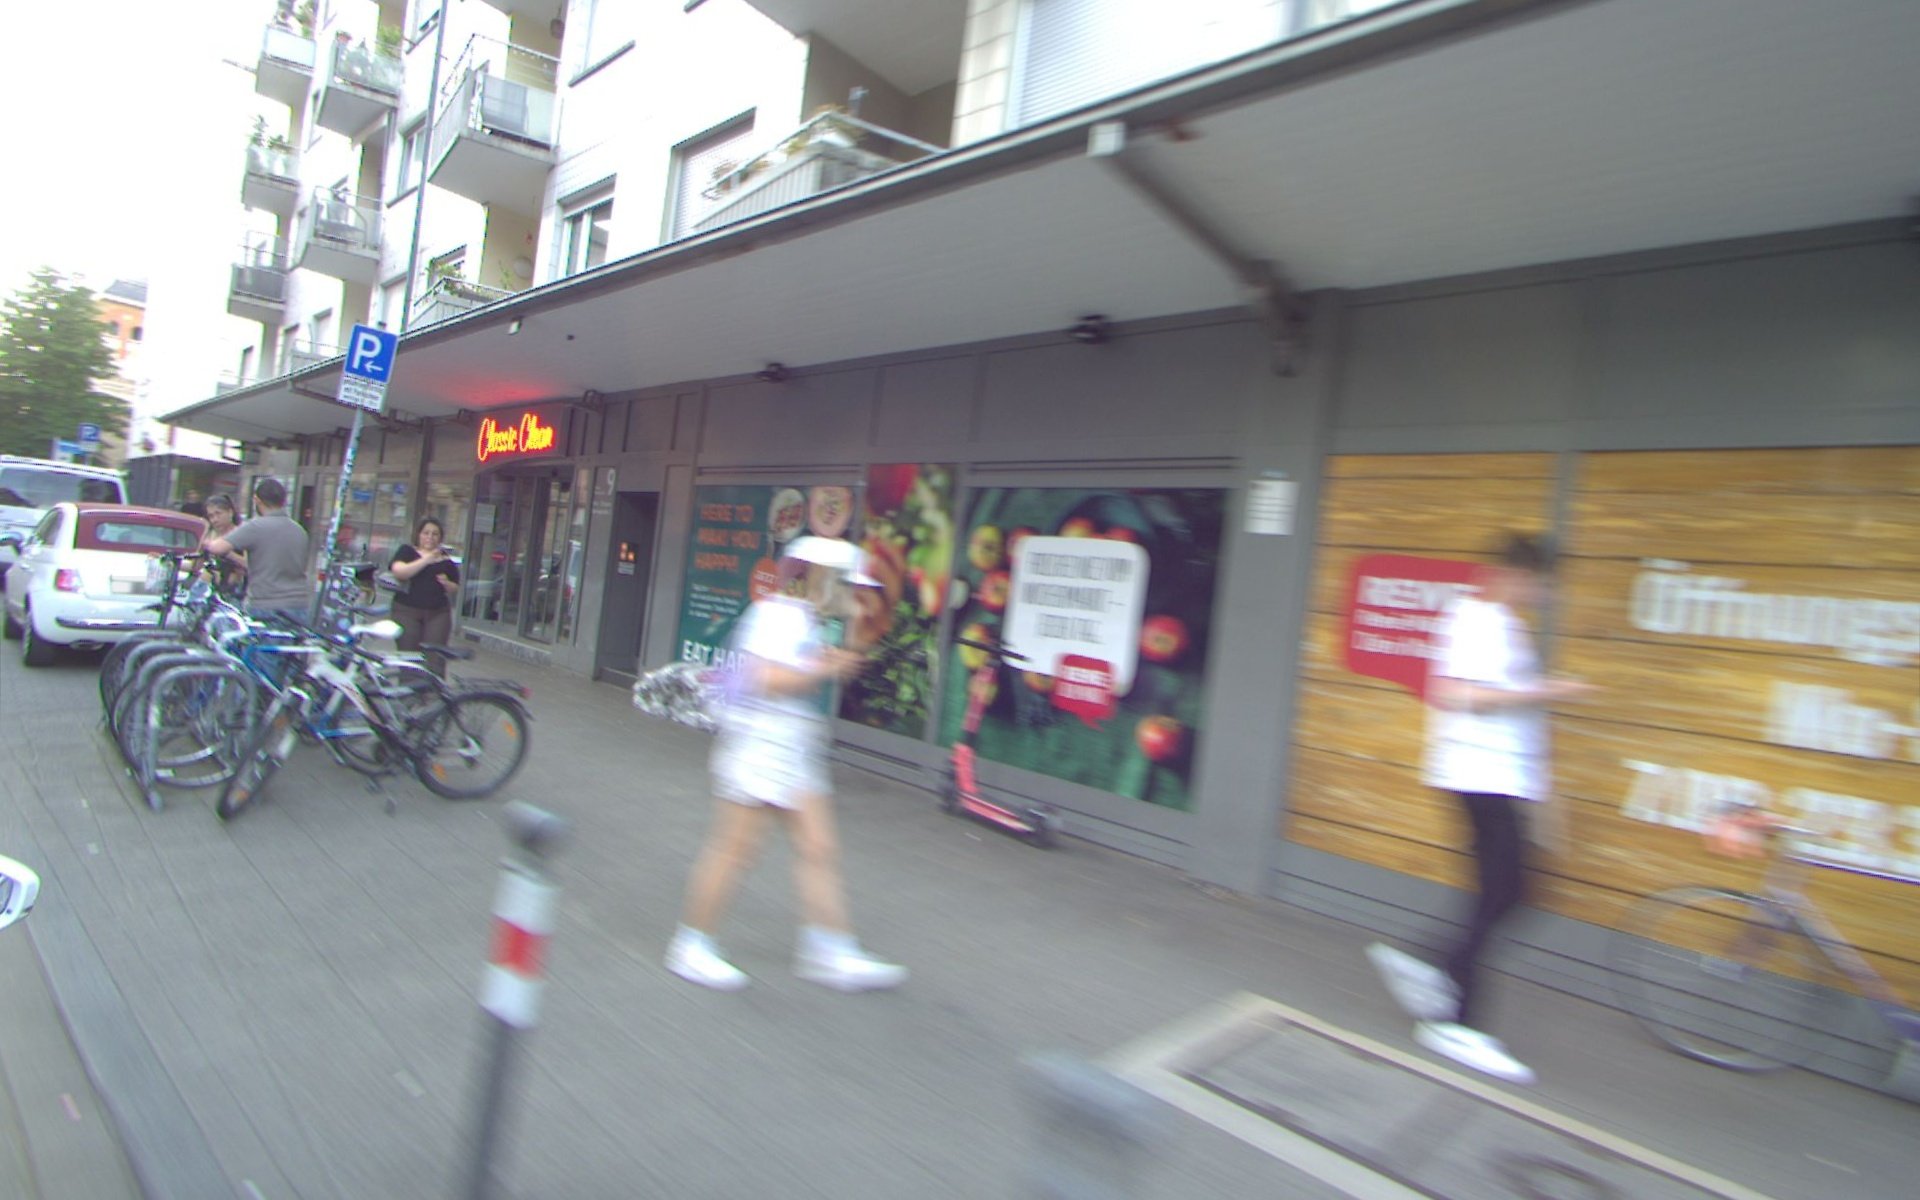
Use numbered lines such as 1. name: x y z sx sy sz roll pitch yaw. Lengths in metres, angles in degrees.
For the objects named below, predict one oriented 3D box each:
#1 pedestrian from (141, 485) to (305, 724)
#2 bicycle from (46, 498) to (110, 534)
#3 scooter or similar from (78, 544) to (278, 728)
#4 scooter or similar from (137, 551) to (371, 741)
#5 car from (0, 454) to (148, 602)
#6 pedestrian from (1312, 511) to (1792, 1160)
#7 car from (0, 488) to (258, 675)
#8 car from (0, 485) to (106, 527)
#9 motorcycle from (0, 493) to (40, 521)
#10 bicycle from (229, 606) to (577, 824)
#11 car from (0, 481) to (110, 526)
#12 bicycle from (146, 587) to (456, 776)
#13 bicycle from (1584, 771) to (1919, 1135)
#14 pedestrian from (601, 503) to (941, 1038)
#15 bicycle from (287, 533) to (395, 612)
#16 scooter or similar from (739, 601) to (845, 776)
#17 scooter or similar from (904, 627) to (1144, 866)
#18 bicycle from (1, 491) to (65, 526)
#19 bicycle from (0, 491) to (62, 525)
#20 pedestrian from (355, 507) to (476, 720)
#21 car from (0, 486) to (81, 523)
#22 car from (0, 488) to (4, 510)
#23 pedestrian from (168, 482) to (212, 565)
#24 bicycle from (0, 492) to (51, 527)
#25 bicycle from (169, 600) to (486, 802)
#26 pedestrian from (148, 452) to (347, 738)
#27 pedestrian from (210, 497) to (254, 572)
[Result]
1. pedestrian: -5.398 0.033 7.400 0.581 1.620 0.647 6 1 5
2. bicycle: -33.696 -3.191 38.454 0.569 1.146 1.723 6 1 33
3. scooter or similar: -5.698 0.229 7.401 0.528 1.186 1.162 7 2 -5
4. scooter or similar: -4.947 0.331 7.094 0.529 1.186 1.159 9 2 38
5. car: -15.011 -1.258 16.603 1.952 1.999 4.938 5 2 -44
6. pedestrian: 2.124 0.699 3.685 0.758 1.937 1.175 4 3 -44
7. car: -8.528 -0.234 10.178 3.377 1.520 1.588 7 1 43
8. car: -43.893 -4.527 48.041 1.753 1.474 4.417 7 1 39
9. motorcycle: -41.976 -4.148 44.251 0.652 1.092 2.060 6 1 30
10. bicycle: -3.005 0.608 5.553 0.504 1.014 1.544 6 0 42
11. car: -45.490 -4.827 50.280 1.723 1.669 4.386 7 1 44
12. bicycle: -3.976 0.504 6.137 1.471 1.014 0.505 6 0 -39
13. bicycle: 3.370 1.303 3.630 1.760 1.036 0.455 6 -1 44
14. pedestrian: -0.675 0.547 3.687 0.867 1.673 0.663 6 3 22
15. bicycle: -10.950 -0.485 17.780 1.683 1.211 0.910 6 1 32
16. scooter or similar: -1.370 0.670 8.065 0.529 1.218 1.159 7 0 -18
17. scooter or similar: 0.348 0.862 6.418 0.475 1.233 1.607 6 0 -37
18. bicycle: -37.397 -3.679 40.629 1.775 1.198 0.727 3 2 -35
19. bicycle: -38.026 -3.740 41.173 1.859 1.198 0.734 3 2 -40
20. pedestrian: -4.477 0.111 8.272 0.719 1.653 0.557 5 2 -31
21. car: -49.520 -5.143 53.455 1.803 1.474 3.978 7 1 42
22. car: -67.555 -7.131 69.849 1.669 1.448 4.421 3 3 -44
23. pedestrian: -18.255 -1.791 23.853 0.705 1.851 0.851 5 1 -39
24. bicycle: -35.723 -3.455 38.193 0.697 1.132 1.718 7 1 43
25. bicycle: -3.602 0.567 5.818 0.504 0.996 1.415 6 0 42
26. pedestrian: -4.813 -0.032 6.837 0.650 1.778 0.738 6 1 10
27. pedestrian: -17.545 -1.569 24.241 0.705 1.686 0.737 5 1 -39
